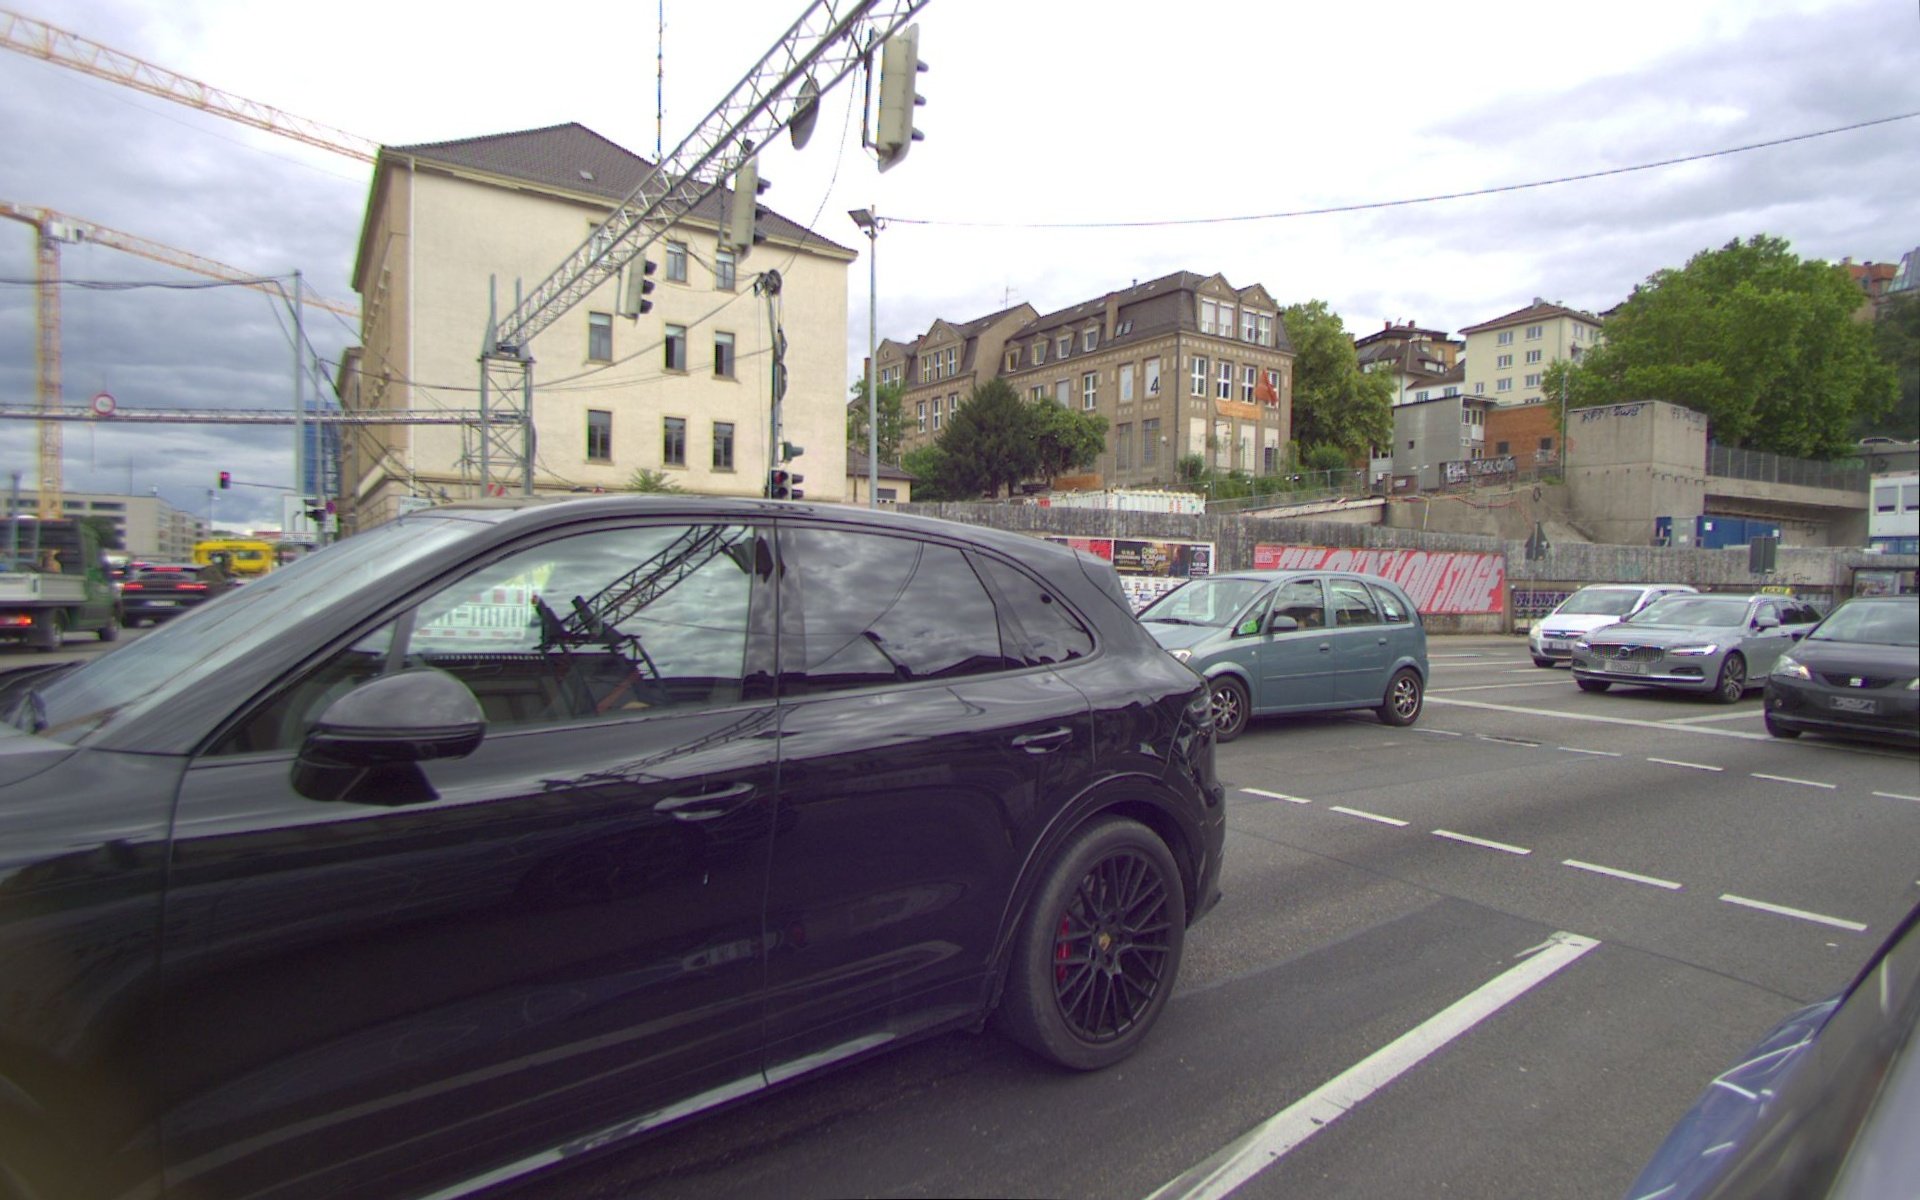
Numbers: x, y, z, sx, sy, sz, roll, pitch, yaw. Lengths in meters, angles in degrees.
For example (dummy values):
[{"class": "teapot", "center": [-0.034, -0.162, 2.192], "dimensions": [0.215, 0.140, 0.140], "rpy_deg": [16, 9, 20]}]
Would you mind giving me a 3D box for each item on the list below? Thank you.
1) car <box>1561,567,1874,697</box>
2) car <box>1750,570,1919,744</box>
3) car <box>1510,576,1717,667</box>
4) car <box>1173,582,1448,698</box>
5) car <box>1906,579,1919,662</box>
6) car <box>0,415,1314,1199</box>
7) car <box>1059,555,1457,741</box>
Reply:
[{"class": "car", "center": [10.920, 0.382, 14.526], "dimensions": [4.589, 1.598, 1.914], "rpy_deg": [0, 2, -30]}, {"class": "car", "center": [10.005, 0.503, 10.162], "dimensions": [4.330, 1.488, 1.736], "rpy_deg": [0, 2, -30]}, {"class": "car", "center": [12.484, 0.355, 19.285], "dimensions": [3.990, 1.594, 1.694], "rpy_deg": [0, 0, -30]}, {"class": "car", "center": [5.146, 0.477, 14.703], "dimensions": [4.008, 1.433, 1.693], "rpy_deg": [-1, 2, -33]}, {"class": "car", "center": [20.826, 0.440, 20.104], "dimensions": [4.351, 1.598, 1.814], "rpy_deg": [0, 2, -31]}, {"class": "car", "center": [-1.126, 0.524, 2.824], "dimensions": [4.527, 1.668, 1.955], "rpy_deg": [-2, 3, -40]}, {"class": "car", "center": [3.097, 0.375, 10.379], "dimensions": [3.876, 1.593, 1.695], "rpy_deg": [0, 2, -30]}]
